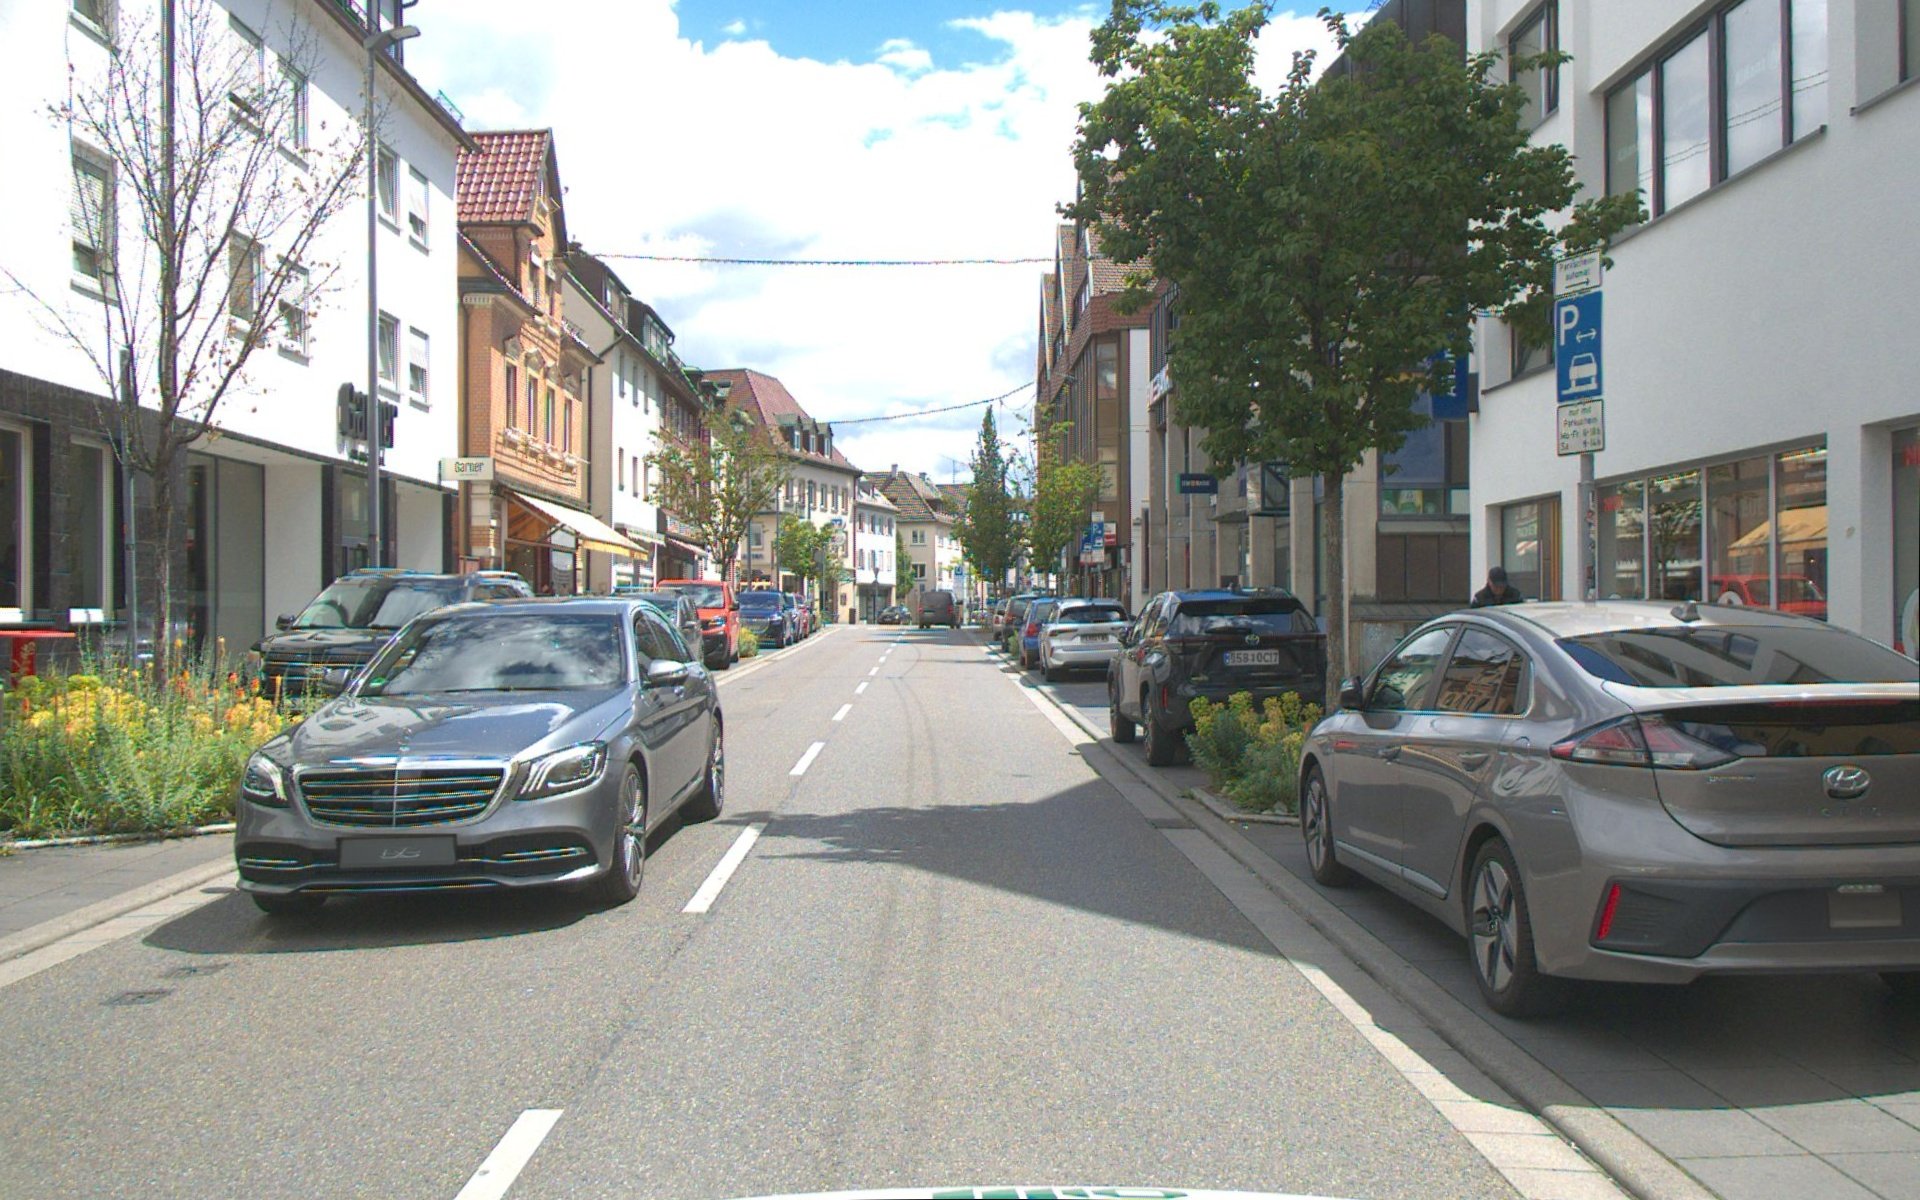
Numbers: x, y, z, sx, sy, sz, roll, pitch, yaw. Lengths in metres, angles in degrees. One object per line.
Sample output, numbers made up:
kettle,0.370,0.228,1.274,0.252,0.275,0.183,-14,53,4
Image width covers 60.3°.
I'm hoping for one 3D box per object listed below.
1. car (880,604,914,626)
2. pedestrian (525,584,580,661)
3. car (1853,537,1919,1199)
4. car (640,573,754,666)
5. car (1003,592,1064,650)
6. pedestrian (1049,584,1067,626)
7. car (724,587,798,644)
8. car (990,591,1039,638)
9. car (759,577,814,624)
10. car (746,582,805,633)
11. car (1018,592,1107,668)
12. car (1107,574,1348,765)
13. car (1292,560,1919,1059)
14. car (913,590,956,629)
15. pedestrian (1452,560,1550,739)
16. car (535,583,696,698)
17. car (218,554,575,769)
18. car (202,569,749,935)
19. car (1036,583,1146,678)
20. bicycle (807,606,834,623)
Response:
car,-4.465,1.104,118.273,1.590,1.512,3.808,1,-1,10
pedestrian,-8.666,0.471,35.176,0.791,1.602,0.777,1,-1,31
car,2.914,0.603,1.450,1.597,1.502,4.957,1,-1,0
car,-5.813,0.430,37.094,1.779,1.922,4.840,1,-1,0
car,2.051,0.562,46.977,1.576,1.559,3.795,-1,0,0
pedestrian,4.434,0.218,74.611,0.722,1.846,0.711,1,-1,-1
car,-5.937,0.451,49.745,1.763,1.626,4.388,0,0,-1
car,1.925,0.495,59.206,1.576,1.521,3.795,-3,0,0
car,-6.330,0.015,60.740,1.763,1.632,4.216,0,0,-3
car,-6.123,0.246,55.327,1.764,1.632,4.348,0,0,-4
car,2.185,0.642,36.275,1.686,1.520,4.109,1,-1,0
car,2.474,0.618,16.212,1.686,1.604,4.109,1,-1,0
car,2.770,0.670,7.237,1.686,1.502,4.353,1,-1,-1
car,-1.364,0.501,85.665,2.000,1.881,4.995,1,-1,-3
pedestrian,5.504,0.494,16.858,0.726,1.767,0.757,1,-1,-1
car,-5.834,0.666,28.551,1.779,1.786,4.464,1,-1,0
car,-5.342,0.547,16.416,1.778,1.786,4.669,1,-1,2
car,-2.471,0.660,9.754,1.866,1.591,4.645,-2,1,-1
car,2.372,0.546,30.864,1.686,1.604,4.428,1,-1,0
bicycle,-8.922,0.898,105.412,1.597,1.049,0.568,1,-1,14
